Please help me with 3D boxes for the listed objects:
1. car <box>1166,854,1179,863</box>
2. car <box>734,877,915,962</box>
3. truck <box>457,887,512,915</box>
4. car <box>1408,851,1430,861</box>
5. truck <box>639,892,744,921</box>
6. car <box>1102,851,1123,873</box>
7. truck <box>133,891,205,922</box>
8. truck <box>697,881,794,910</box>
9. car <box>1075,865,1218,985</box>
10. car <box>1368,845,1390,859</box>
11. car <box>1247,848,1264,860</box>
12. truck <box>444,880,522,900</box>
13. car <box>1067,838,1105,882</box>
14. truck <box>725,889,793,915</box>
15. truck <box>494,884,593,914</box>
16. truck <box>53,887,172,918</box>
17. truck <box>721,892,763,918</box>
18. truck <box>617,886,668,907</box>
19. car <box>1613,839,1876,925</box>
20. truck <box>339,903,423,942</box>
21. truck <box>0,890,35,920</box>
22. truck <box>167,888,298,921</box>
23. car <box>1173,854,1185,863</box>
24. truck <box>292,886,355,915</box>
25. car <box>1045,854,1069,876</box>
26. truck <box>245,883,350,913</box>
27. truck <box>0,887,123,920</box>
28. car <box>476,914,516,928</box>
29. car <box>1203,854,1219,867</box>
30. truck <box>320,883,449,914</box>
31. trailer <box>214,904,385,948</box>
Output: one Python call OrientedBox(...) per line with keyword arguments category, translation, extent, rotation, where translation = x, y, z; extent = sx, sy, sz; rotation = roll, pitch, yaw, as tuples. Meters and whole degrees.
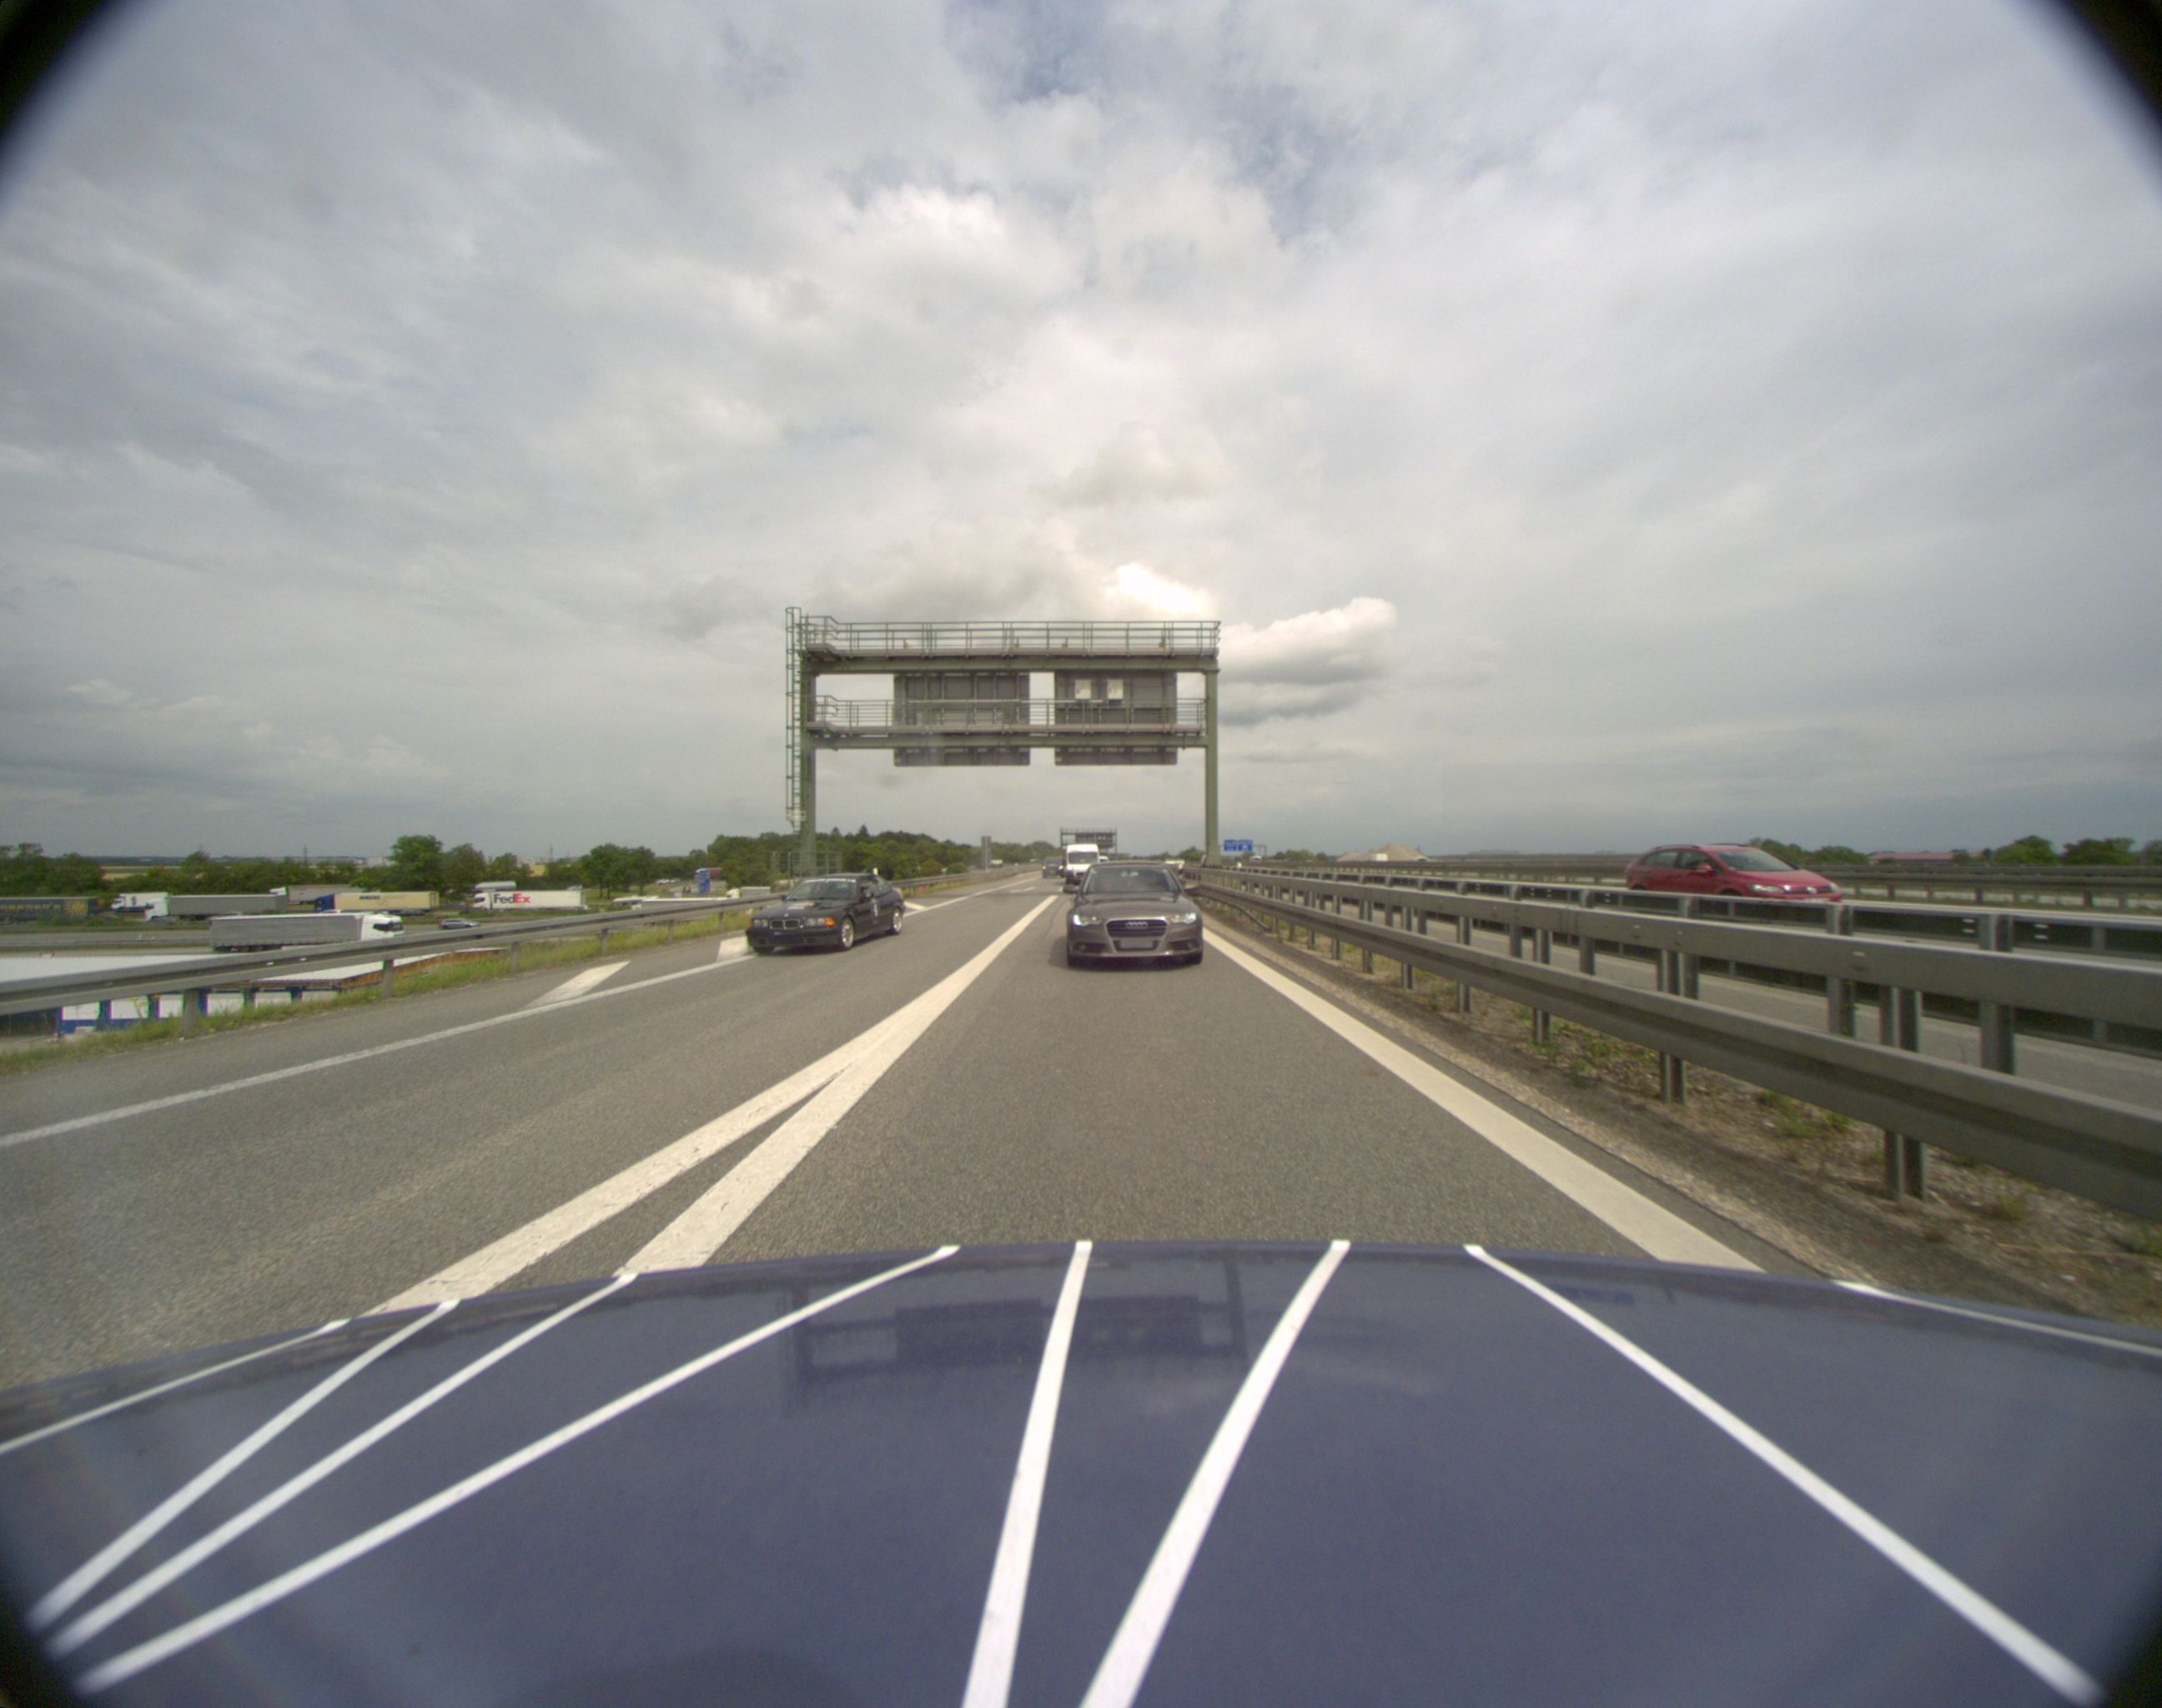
OrientedBox(category="car", translation=(18.056, 0.913, 150.658), extent=(1.999, 1.739, 4.000), rotation=(-2, -1, 0))
OrientedBox(category="car", translation=(-4.733, 1.159, 14.772), extent=(1.708, 1.273, 4.367), rotation=(-2, -1, 4))
OrientedBox(category="truck", translation=(-104.770, 8.192, 133.595), extent=(6.295, 4.484, 3.928), rotation=(-2, 0, -12))
OrientedBox(category="car", translation=(52.140, 0.290, 117.308), extent=(1.670, 1.487, 3.911), rotation=(-5, 0, 2))
OrientedBox(category="truck", translation=(-55.959, 7.467, 109.446), extent=(13.146, 3.657, 2.494), rotation=(-1, -1, -15))
OrientedBox(category="car", translation=(2.870, 0.738, 70.455), extent=(1.845, 1.870, 4.289), rotation=(-2, -1, 2))
OrientedBox(category="truck", translation=(-148.186, 8.517, 123.563), extent=(6.295, 4.484, 3.928), rotation=(-2, 0, -12))
OrientedBox(category="truck", translation=(-63.193, 7.765, 143.608), extent=(16.176, 4.672, 3.990), rotation=(-2, 1, -10))
OrientedBox(category="car", translation=(0.884, 0.920, 11.522), extent=(1.747, 1.380, 4.000), rotation=(-2, 0, 2))
OrientedBox(category="car", translation=(49.461, -0.277, 126.162), extent=(1.998, 2.292, 4.491), rotation=(-2, -1, 2))
OrientedBox(category="car", translation=(30.114, -0.005, 131.297), extent=(1.915, 1.783, 4.823), rotation=(-5, 0, 1))
OrientedBox(category="truck", translation=(-144.040, 8.672, 183.480), extent=(3.078, 4.065, 14.760), rotation=(-2, -1, 27))
OrientedBox(category="car", translation=(0.252, 0.376, 46.222), extent=(2.119, 2.439, 6.152), rotation=(-2, -1, -1))
OrientedBox(category="truck", translation=(-58.355, 8.603, 138.003), extent=(10.789, 4.047, 3.237), rotation=(-2, 0, -16))
OrientedBox(category="truck", translation=(-95.804, 7.951, 135.656), extent=(13.796, 4.527, 4.004), rotation=(-2, 0, -13))
OrientedBox(category="truck", translation=(-179.577, 8.912, 141.184), extent=(13.026, 5.010, 3.941), rotation=(-1, -1, -41))
OrientedBox(category="truck", translation=(-49.535, 7.440, 111.145), extent=(5.169, 3.657, 2.494), rotation=(-1, -1, -15))
OrientedBox(category="truck", translation=(-77.894, 7.539, 135.091), extent=(7.569, 3.178, 2.230), rotation=(-2, 0, -12))
OrientedBox(category="car", translation=(13.900, 0.544, 16.340), extent=(1.824, 1.536, 4.355), rotation=(-2, -1, 0))
OrientedBox(category="truck", translation=(-81.897, 7.964, 89.055), extent=(6.531, 4.075, 2.987), rotation=(-2, 0, -13))
OrientedBox(category="truck", translation=(-169.513, 8.051, 118.366), extent=(6.499, 4.472, 4.069), rotation=(-2, 0, -11))
OrientedBox(category="truck", translation=(-139.639, 8.222, 125.327), extent=(14.889, 4.527, 4.005), rotation=(-2, 0, -12))
OrientedBox(category="car", translation=(21.701, 1.087, 167.995), extent=(1.999, 1.870, 4.000), rotation=(-2, -1, 0))
OrientedBox(category="truck", translation=(-128.014, 7.805, 128.503), extent=(6.295, 4.484, 3.928), rotation=(-2, 0, -13))
OrientedBox(category="car", translation=(-2.032, 0.902, 65.277), extent=(1.929, 1.761, 4.000), rotation=(-2, -1, 0))
OrientedBox(category="truck", translation=(-161.448, 8.969, 156.841), extent=(3.851, 5.183, 14.888), rotation=(-2, -1, 41))
OrientedBox(category="truck", translation=(-162.470, 7.802, 119.705), extent=(15.308, 4.527, 4.005), rotation=(-2, 0, -11))
OrientedBox(category="car", translation=(-83.124, 9.520, 108.020), extent=(4.001, 1.592, 1.875), rotation=(-5, 0, -13))
OrientedBox(category="car", translation=(21.550, 1.125, 126.239), extent=(1.998, 2.001, 4.467), rotation=(-2, -1, 2))
OrientedBox(category="truck", translation=(-119.263, 7.528, 130.497), extent=(16.371, 4.527, 4.004), rotation=(-2, 0, -13))
OrientedBox(category="trailer", translation=(-89.447, 8.178, 87.328), extent=(14.253, 4.075, 2.987), rotation=(-2, 0, -13))
